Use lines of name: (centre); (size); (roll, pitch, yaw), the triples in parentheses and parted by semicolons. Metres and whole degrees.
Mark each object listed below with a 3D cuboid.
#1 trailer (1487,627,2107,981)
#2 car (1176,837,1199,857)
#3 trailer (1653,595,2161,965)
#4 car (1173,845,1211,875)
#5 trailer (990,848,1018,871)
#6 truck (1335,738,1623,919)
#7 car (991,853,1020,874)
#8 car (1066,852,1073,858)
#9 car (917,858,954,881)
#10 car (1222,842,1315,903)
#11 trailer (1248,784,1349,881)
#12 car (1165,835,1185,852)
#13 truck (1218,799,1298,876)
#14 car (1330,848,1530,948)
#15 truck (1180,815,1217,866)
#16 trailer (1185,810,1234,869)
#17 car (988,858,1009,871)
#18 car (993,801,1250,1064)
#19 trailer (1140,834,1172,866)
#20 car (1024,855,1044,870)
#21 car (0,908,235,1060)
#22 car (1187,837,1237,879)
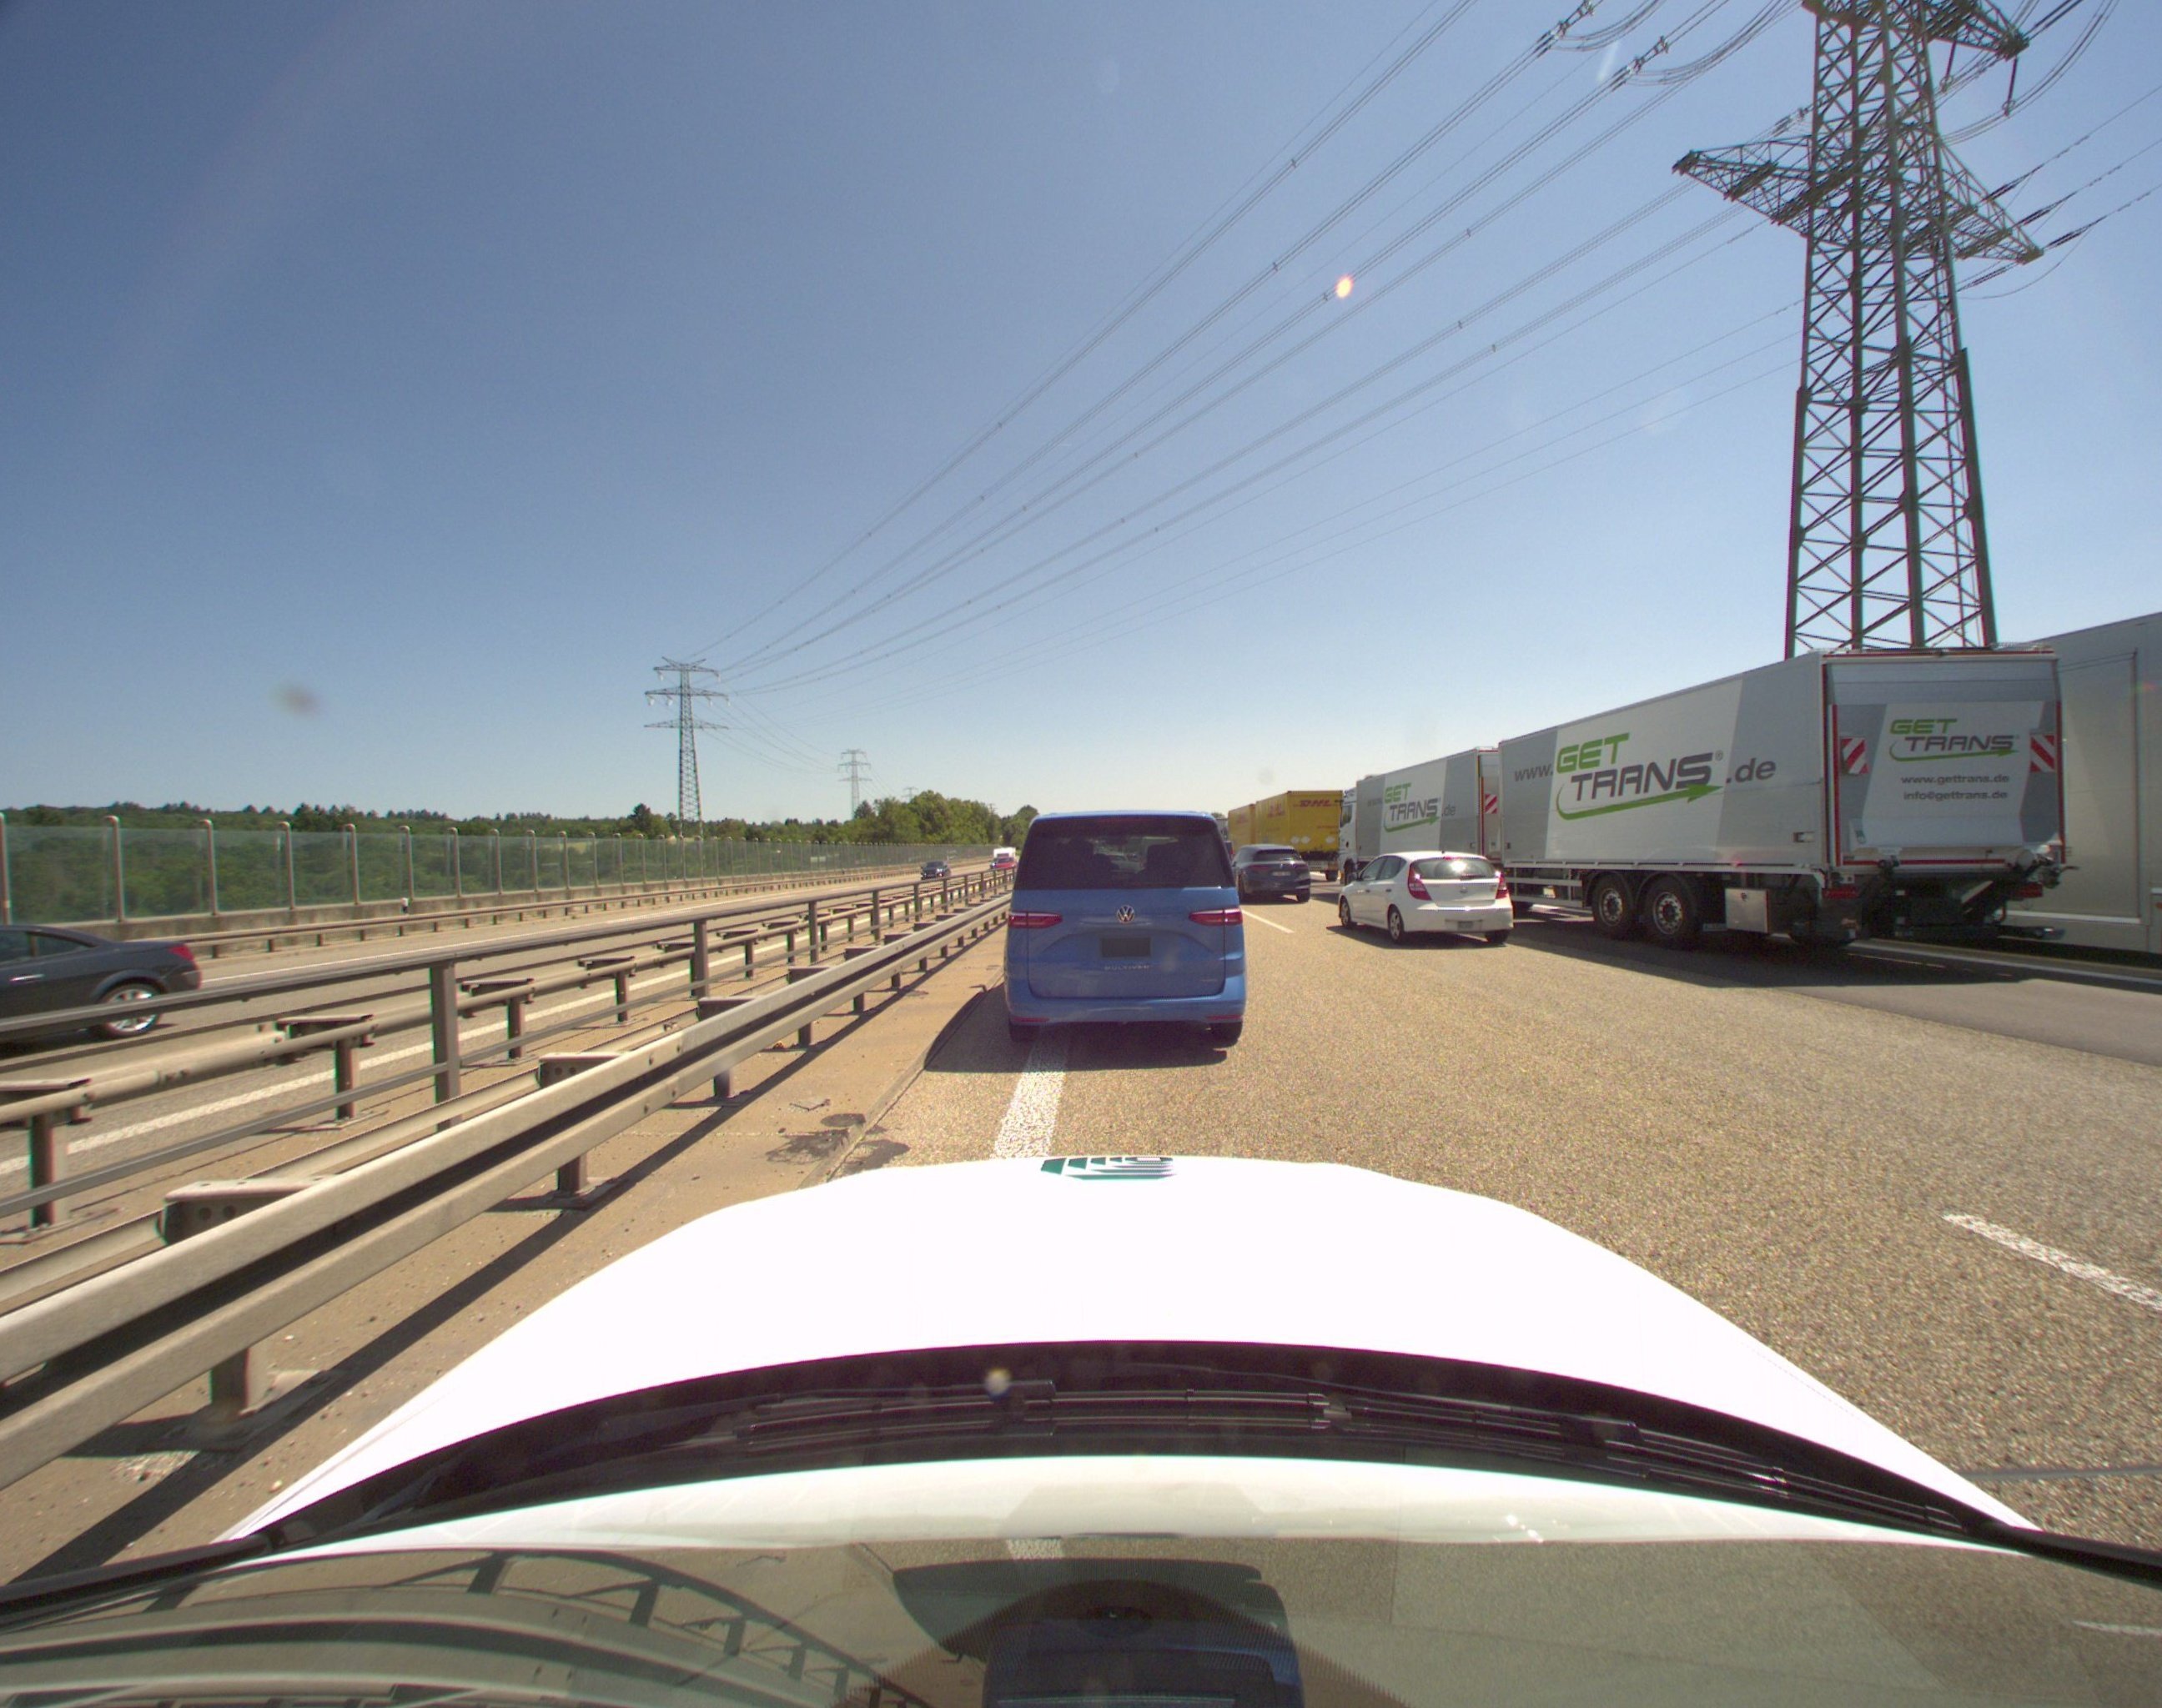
trailer: (9.596, -0.541, 12.658); (2.688, 3.700, 8.017); (-1, 0, 1)
car: (11.129, -0.739, 85.151); (1.986, 2.014, 4.002); (0, 0, 2)
trailer: (13.334, -0.827, 10.445); (2.526, 4.119, 13.775); (0, 0, 1)
car: (7.065, 0.371, 52.286); (1.986, 1.816, 4.002); (-1, 0, 2)
trailer: (-9.492, 0.649, 101.467); (2.484, 2.549, 6.777); (-3, 0, 2)
truck: (9.855, -0.536, 22.170); (2.647, 3.648, 11.013); (-1, 0, 1)
car: (-6.144, 0.757, 66.576); (1.784, 1.478, 3.991); (-5, 0, 2)
car: (-3.534, 0.182, 251.087); (1.861, 1.699, 4.431); (-1, 1, 0)
car: (-10.570, 1.069, 59.283); (1.723, 1.491, 4.421); (-3, 0, 1)
car: (5.584, 0.514, 24.795); (1.954, 1.644, 4.295); (-1, 0, 2)
trailer: (10.498, -0.929, 40.360); (2.854, 4.239, 9.015); (0, 0, 2)
car: (11.781, -1.291, 102.244); (1.986, 2.013, 4.463); (-2, 0, 2)
truck: (10.678, -0.890, 50.395); (2.826, 4.243, 11.013); (0, 0, 1)
car: (5.885, 0.654, 14.347); (1.782, 1.455, 4.295); (-1, 0, 2)
truck: (10.826, -1.145, 75.413); (2.657, 4.484, 6.853); (0, 0, 2)
trailer: (10.534, -1.153, 68.026); (2.627, 4.516, 11.305); (0, 0, 2)
car: (-9.669, 1.224, 95.718); (1.769, 1.407, 4.684); (-3, 0, 2)
car: (0.354, 0.565, 7.828); (1.813, 1.857, 4.076); (0, 0, 2)
trailer: (7.422, -0.328, 81.769); (2.559, 2.990, 10.668); (0, 0, 2)
car: (-5.118, 0.940, 89.153); (1.662, 1.448, 4.003); (-4, 0, 3)
car: (-11.465, 1.408, 8.089); (1.591, 1.350, 4.181); (-4, 0, 2)
car: (6.582, 0.201, 41.390); (1.954, 1.993, 4.295); (-1, 0, 2)
